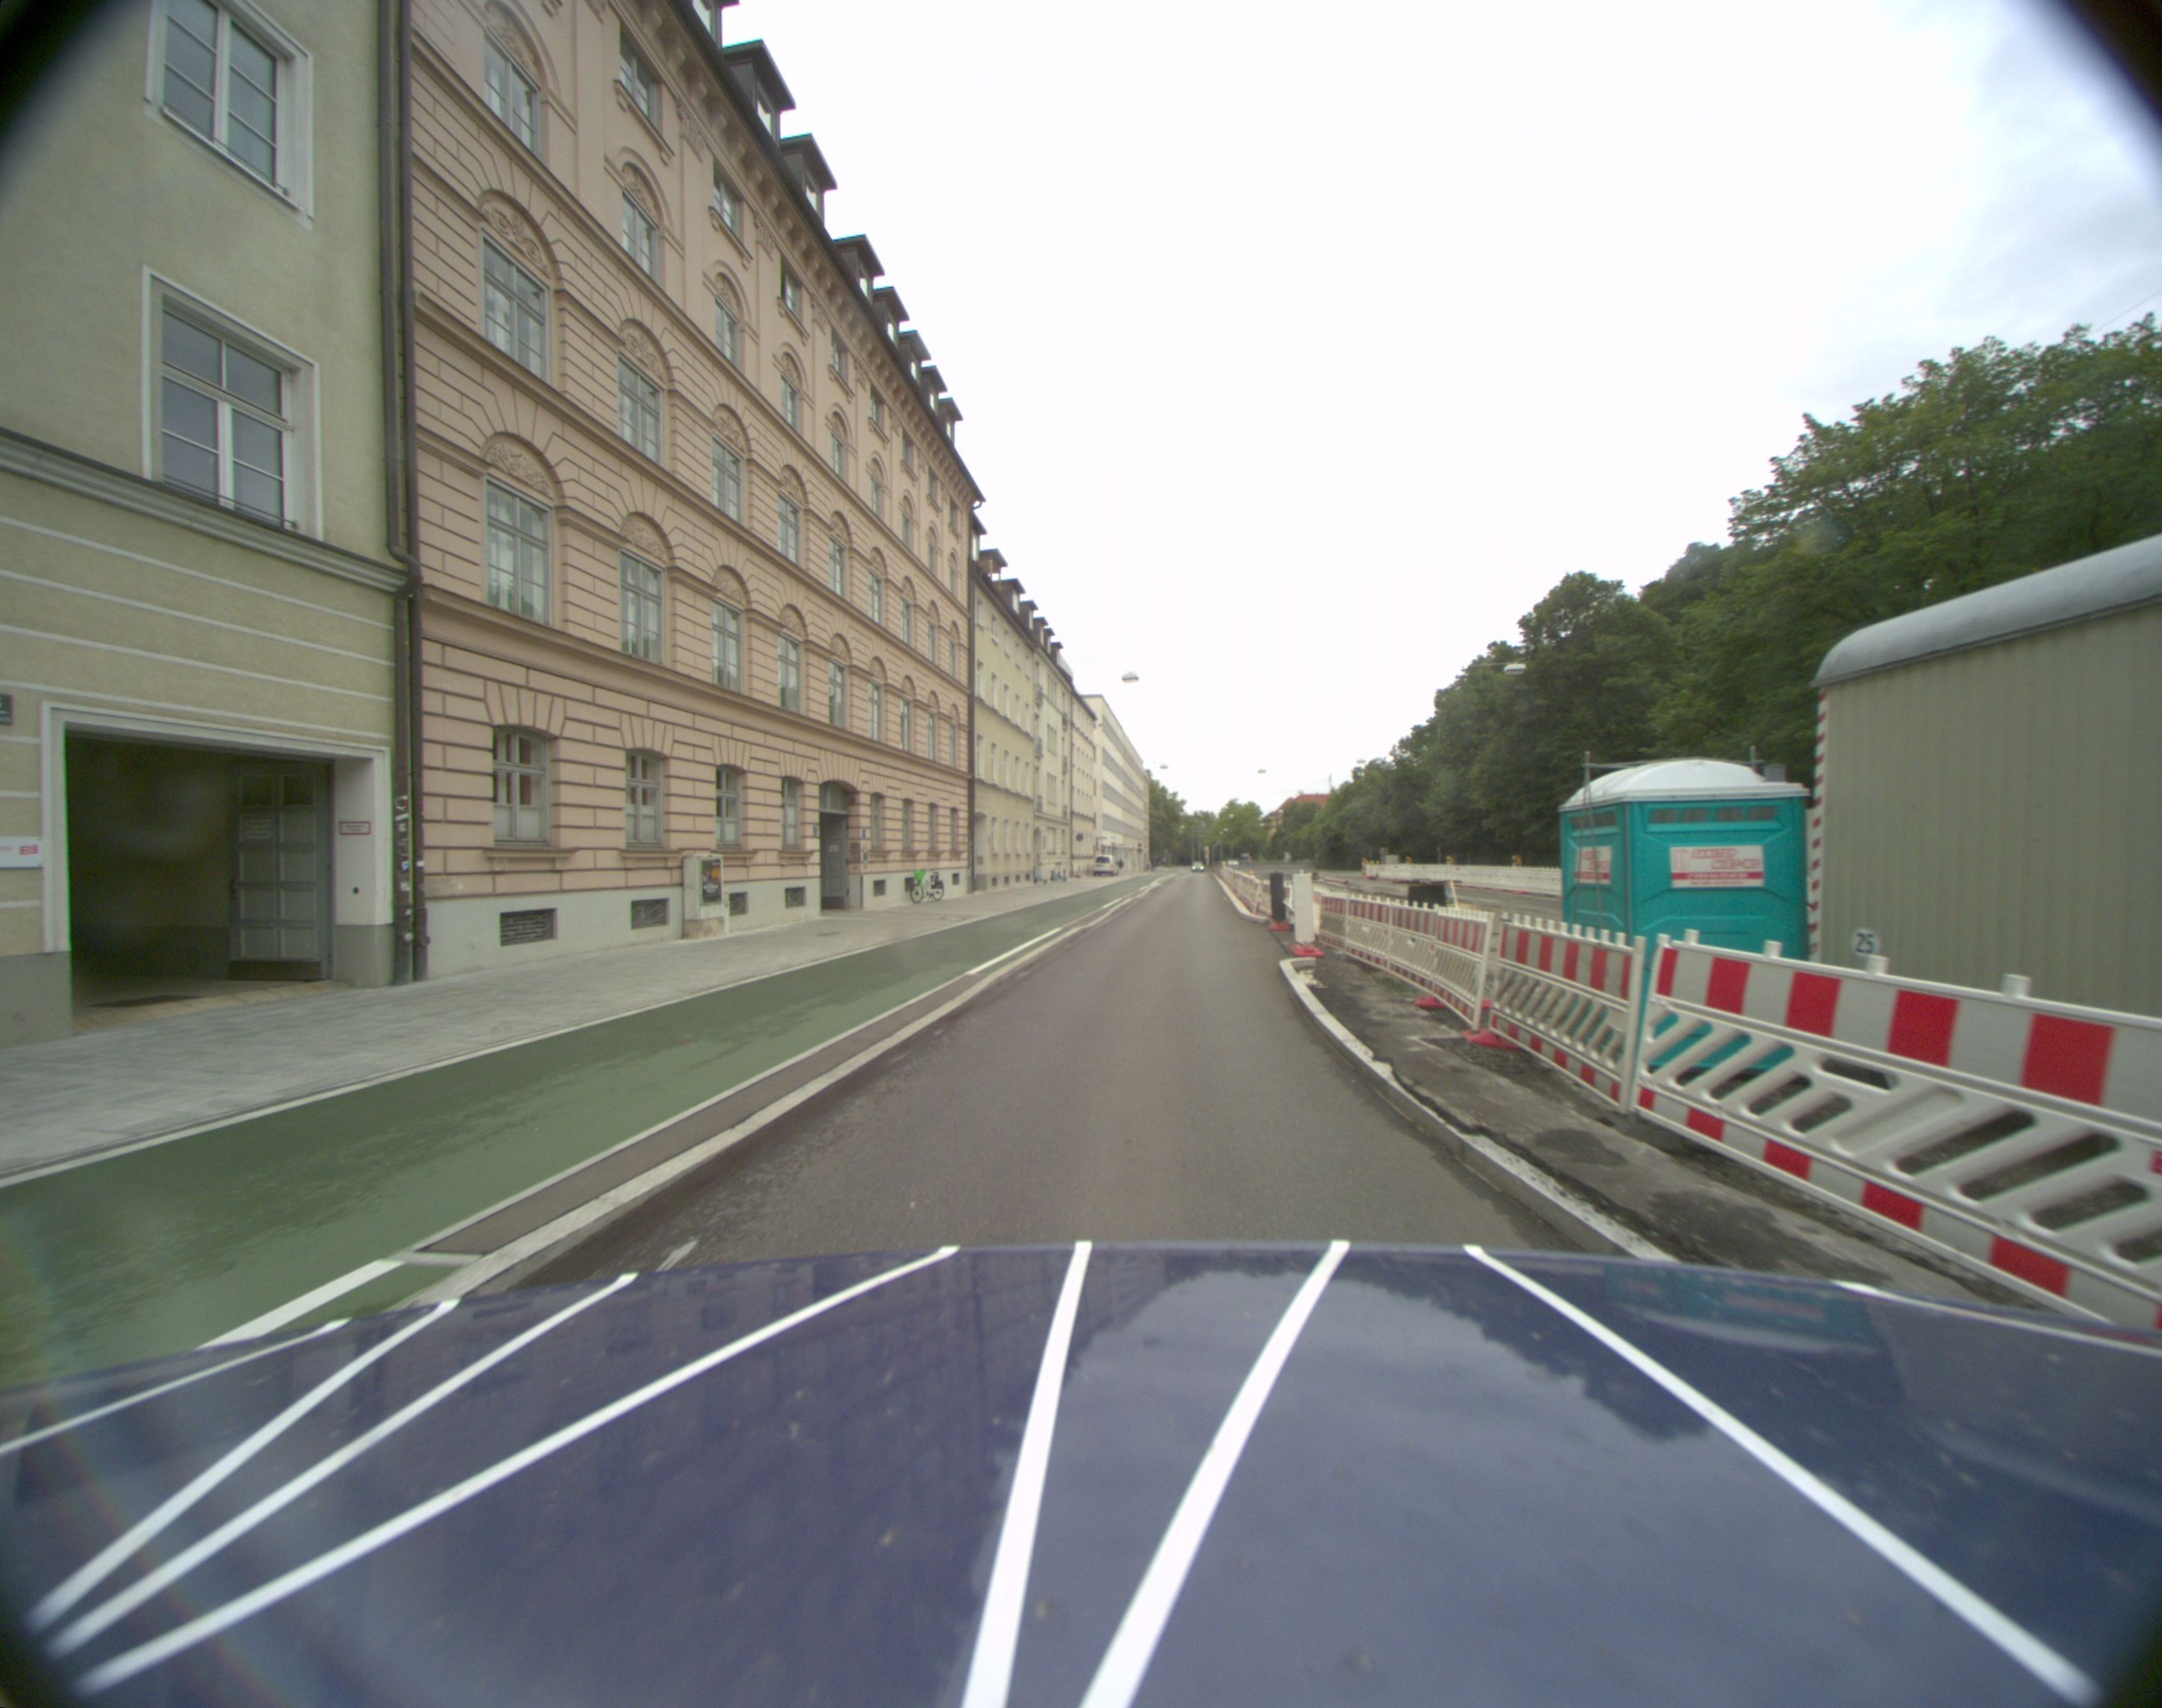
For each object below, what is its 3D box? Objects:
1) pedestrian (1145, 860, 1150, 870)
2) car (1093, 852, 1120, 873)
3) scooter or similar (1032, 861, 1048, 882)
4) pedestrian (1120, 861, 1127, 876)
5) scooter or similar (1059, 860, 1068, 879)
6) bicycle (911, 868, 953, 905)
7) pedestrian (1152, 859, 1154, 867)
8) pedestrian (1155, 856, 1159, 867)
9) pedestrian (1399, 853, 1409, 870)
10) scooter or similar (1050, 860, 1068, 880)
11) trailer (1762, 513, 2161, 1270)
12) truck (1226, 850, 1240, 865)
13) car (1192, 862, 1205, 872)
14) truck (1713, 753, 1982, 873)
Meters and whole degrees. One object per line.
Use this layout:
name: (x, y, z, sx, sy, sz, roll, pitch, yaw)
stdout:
pedestrian: (11.248, 1.892, 128.588, 0.753, 1.610, 0.704, 4, 1, 9)
car: (2.248, 0.753, 66.210, 1.736, 1.739, 4.438, 1, 0, 9)
scooter or similar: (-2.355, 1.017, 44.038, 0.246, 1.224, 1.122, 2, 1, 35)
pedestrian: (4.450, 1.532, 79.763, 0.666, 1.626, 0.738, 1, 0, 9)
scooter or similar: (-1.142, 1.021, 50.681, 0.387, 1.265, 1.120, 2, 1, 8)
bicycle: (-5.054, 1.082, 25.822, 0.426, 1.167, 1.734, 1, 1, 26)
pedestrian: (12.047, 1.540, 127.179, 0.367, 1.239, 0.470, 4, 1, 9)
pedestrian: (12.715, 1.267, 127.249, 0.513, 1.825, 0.602, 4, 1, 9)
pedestrian: (30.638, 0.729, 72.028, 0.664, 1.631, 0.698, -1, 0, 10)
scooter or similar: (-1.431, 1.033, 48.878, 1.121, 1.224, 0.246, 1, 1, -24)
trailer: (5.595, 0.158, 1.467, 2.231, 3.224, 7.521, 0, 0, 4)
truck: (26.731, 0.633, 133.462, 2.057, 2.625, 4.415, 0, 0, 7)
car: (20.789, 2.331, 134.517, 1.997, 1.738, 4.003, -1, 0, 7)
truck: (19.874, -0.911, 20.228, 1.997, 2.712, 5.875, -1, 0, 10)
